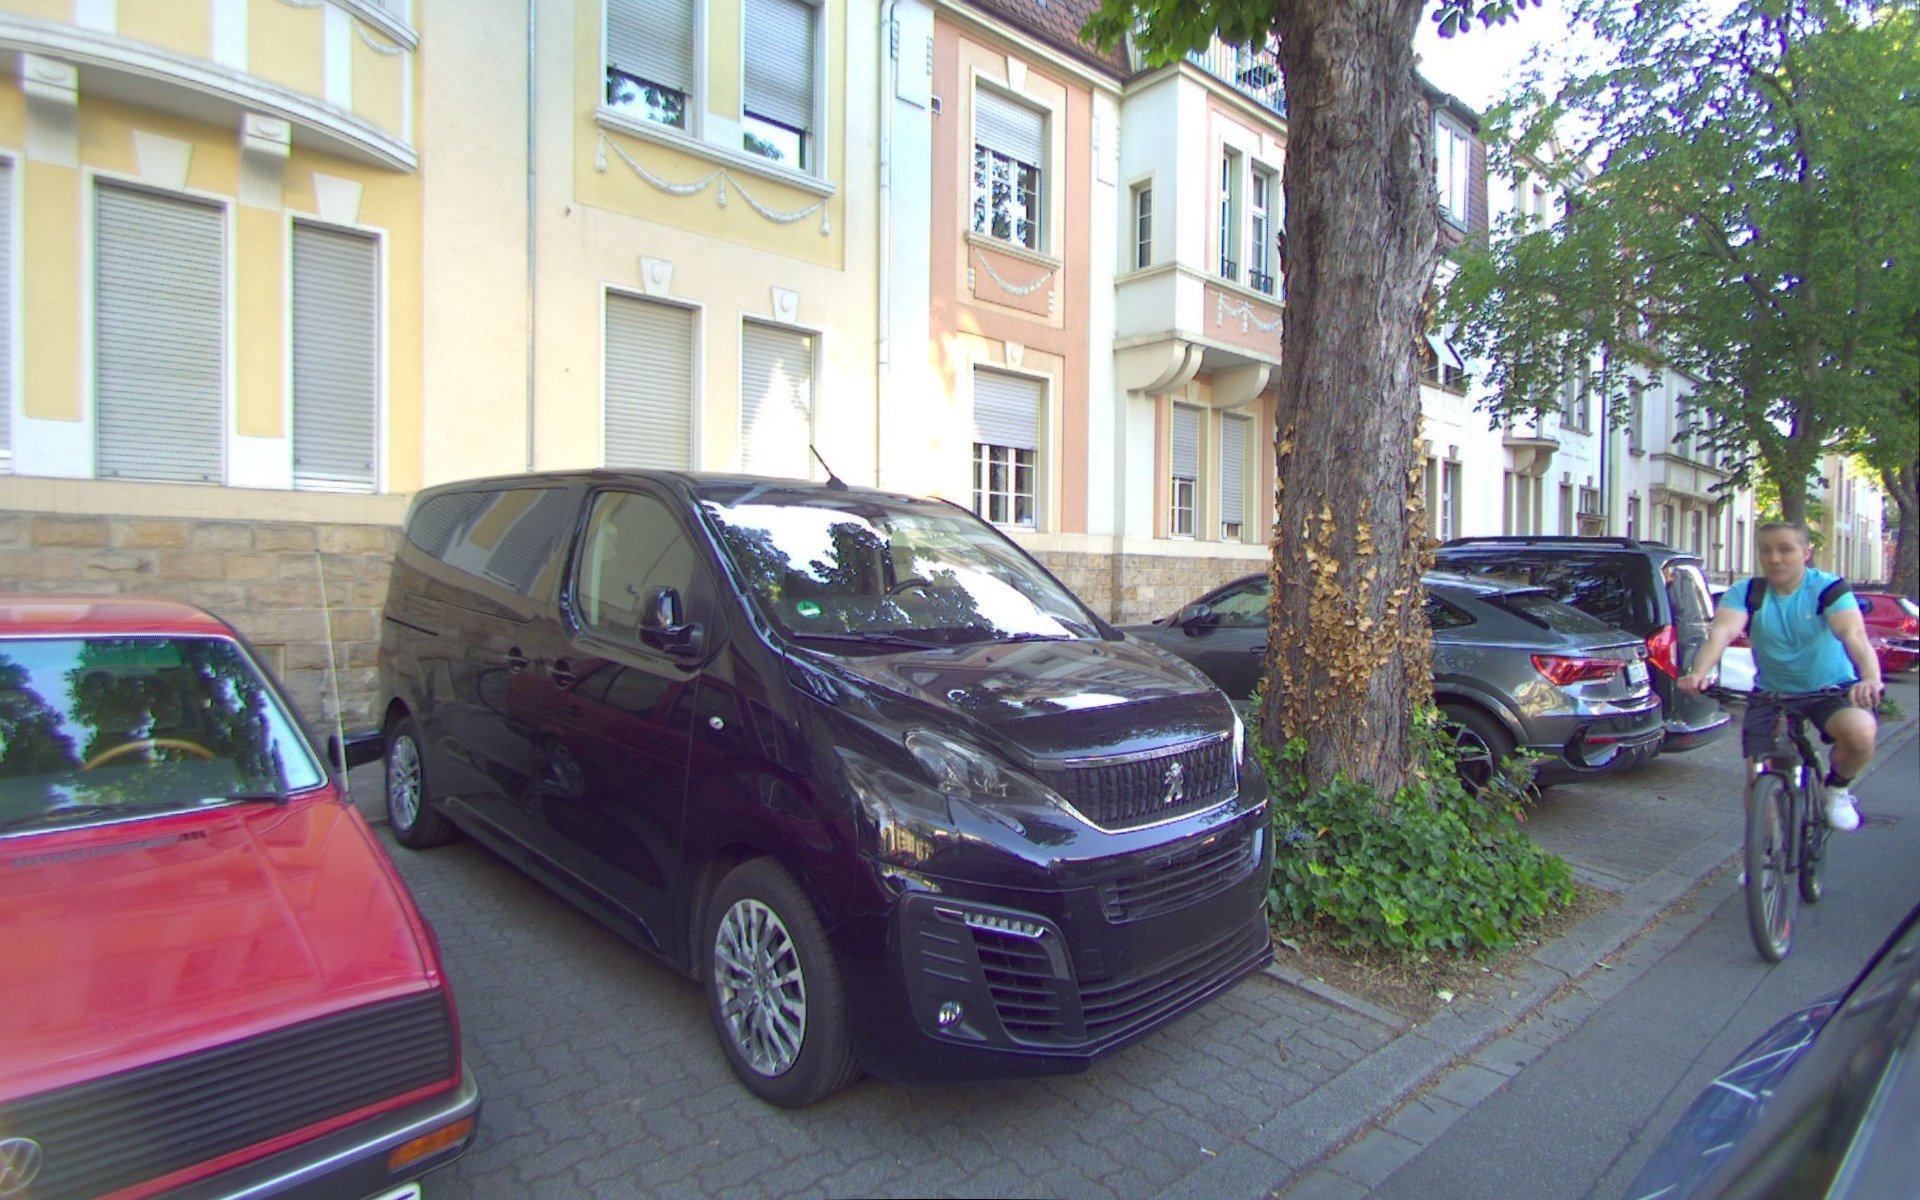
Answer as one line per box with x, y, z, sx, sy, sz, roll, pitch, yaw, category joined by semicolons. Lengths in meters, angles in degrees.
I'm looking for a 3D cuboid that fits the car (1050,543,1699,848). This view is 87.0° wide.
2.777;0.420;7.533;1.569;1.611;4.165;-1;4;-44;car

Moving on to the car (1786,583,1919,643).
23.965;0.325;26.324;1.511;1.420;3.621;0;3;-40;car

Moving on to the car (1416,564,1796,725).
7.702;0.404;12.298;1.513;1.569;3.616;-1;3;-45;car

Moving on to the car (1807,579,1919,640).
25.933;0.250;27.986;1.511;1.584;3.621;0;2;-40;car

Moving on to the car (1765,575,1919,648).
21.626;0.250;24.095;1.511;1.584;3.621;0;2;-40;car

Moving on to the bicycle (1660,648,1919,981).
3.957;0.832;4.660;1.978;1.132;0.743;0;0;-41;bicycle

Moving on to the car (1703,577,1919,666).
16.868;0.368;19.672;1.511;1.482;3.621;0;3;-40;car

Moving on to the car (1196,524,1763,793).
4.351;0.279;8.997;1.569;1.849;4.165;-1;4;-44;car

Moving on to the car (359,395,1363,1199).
-0.985;0.345;4.532;1.851;1.846;4.825;-1;4;-44;car

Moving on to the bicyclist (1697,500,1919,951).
3.821;0.496;4.550;0.816;1.797;0.648;0;0;-41;bicyclist

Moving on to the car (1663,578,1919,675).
14.952;0.398;18.080;1.511;1.420;3.621;0;3;-40;car

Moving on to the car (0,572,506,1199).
-2.805;0.651;2.977;1.532;1.336;3.917;-1;4;-43;car
